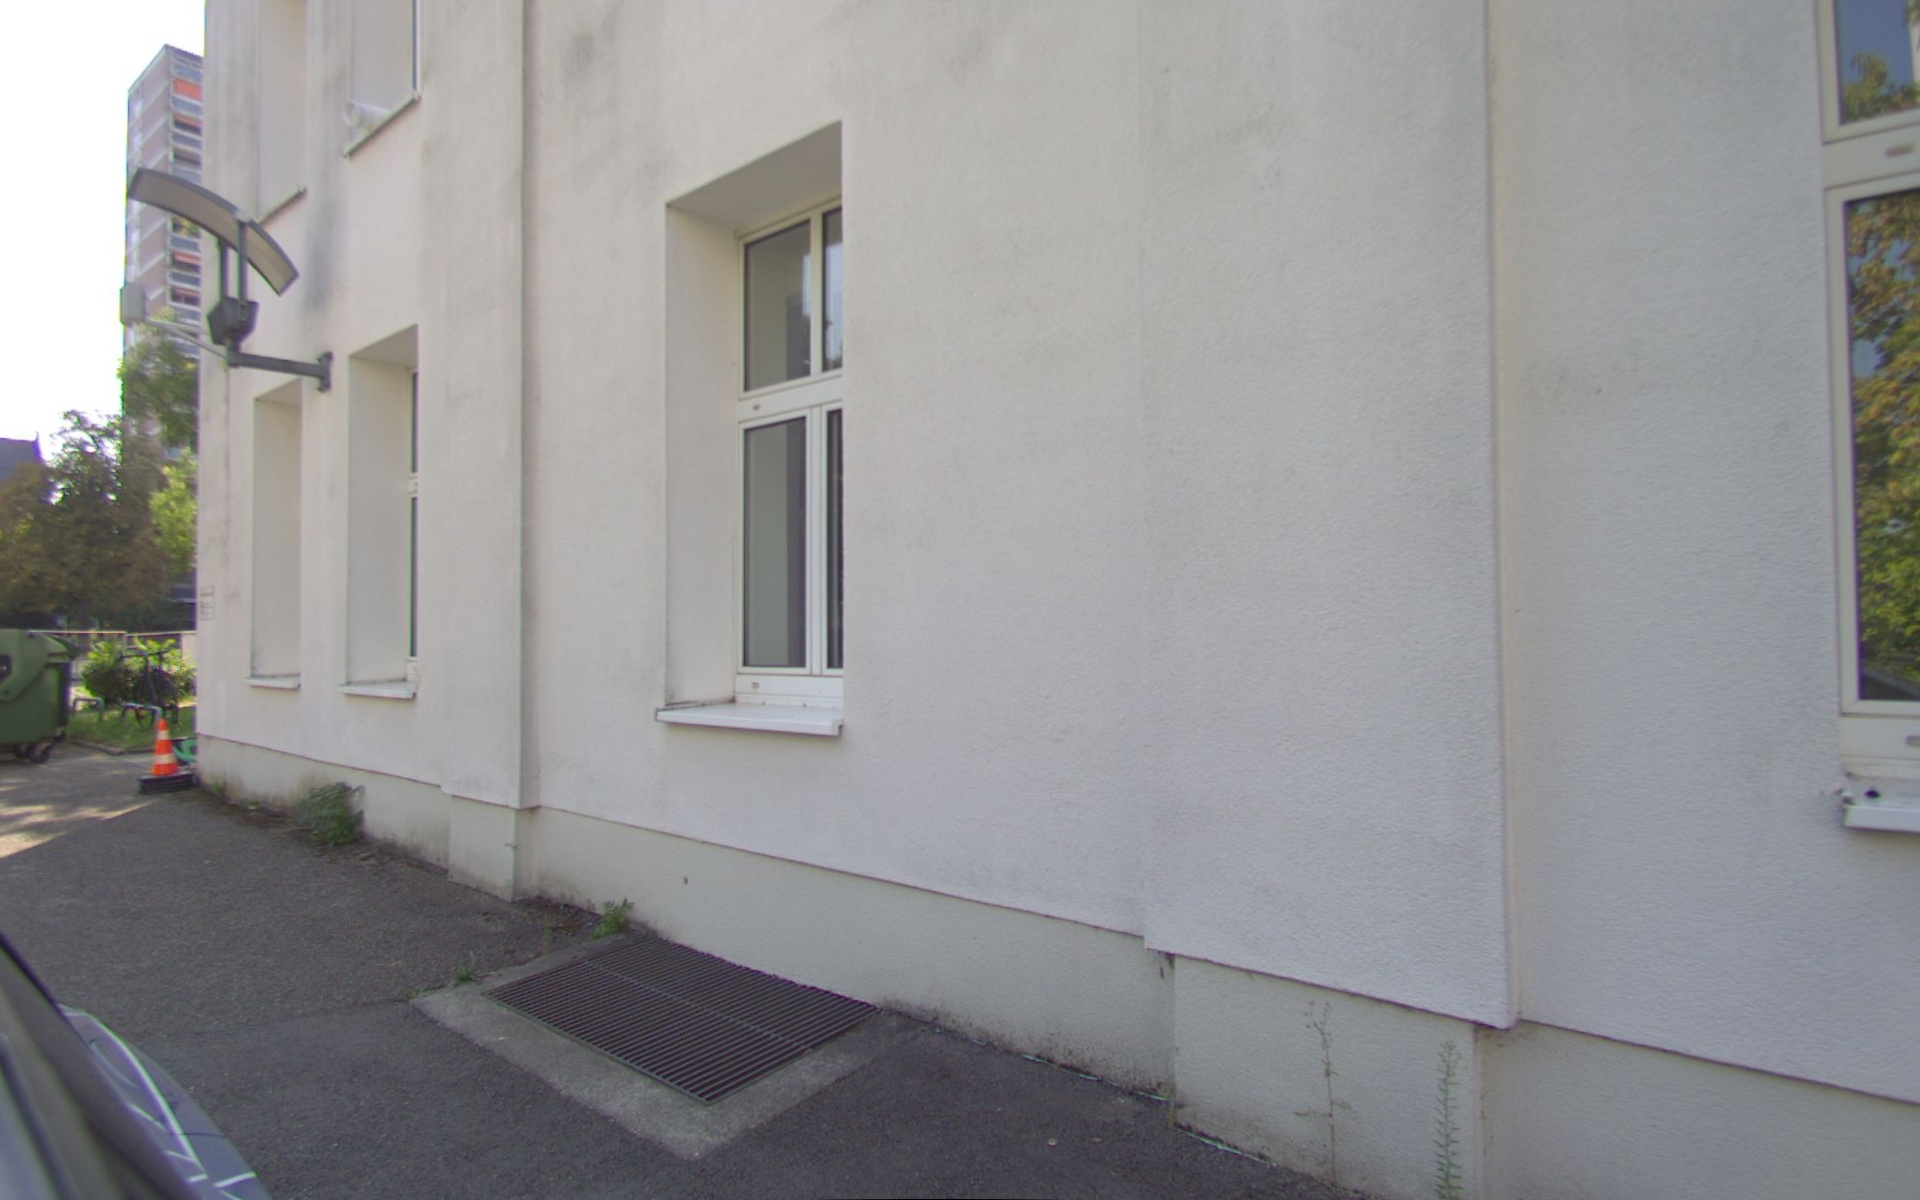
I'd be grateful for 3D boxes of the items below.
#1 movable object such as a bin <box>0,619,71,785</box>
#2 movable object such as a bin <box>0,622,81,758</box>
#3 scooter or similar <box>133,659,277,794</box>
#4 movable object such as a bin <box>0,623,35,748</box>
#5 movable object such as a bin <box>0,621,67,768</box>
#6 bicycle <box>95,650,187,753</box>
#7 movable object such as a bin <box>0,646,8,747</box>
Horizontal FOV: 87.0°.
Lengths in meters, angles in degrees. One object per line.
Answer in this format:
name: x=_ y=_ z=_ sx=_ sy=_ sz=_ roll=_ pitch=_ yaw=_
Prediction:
movable object such as a bin: x=-10.559 y=1.073 z=10.900 sx=1.374 sy=1.719 sz=1.170 roll=-1 pitch=-3 yaw=36
movable object such as a bin: x=-12.644 y=1.159 z=13.415 sx=1.374 sy=1.719 sz=1.170 roll=-1 pitch=-3 yaw=36
scooter or similar: x=-7.601 y=1.239 z=10.183 sx=1.484 sy=1.272 sz=0.383 roll=-1 pitch=-2 yaw=20
movable object such as a bin: x=-13.882 y=1.180 z=14.106 sx=1.374 sy=1.719 sz=1.170 roll=-1 pitch=-3 yaw=36
movable object such as a bin: x=-11.741 y=1.120 z=12.297 sx=1.395 sy=1.719 sz=1.167 roll=-2 pitch=-3 yaw=43
bicycle: x=-10.673 y=1.279 z=13.163 sx=2.005 sy=1.222 sz=0.471 roll=-2 pitch=-3 yaw=38
movable object such as a bin: x=-14.988 y=1.430 z=14.950 sx=1.102 sy=1.509 sz=1.027 roll=-1 pitch=-3 yaw=28
